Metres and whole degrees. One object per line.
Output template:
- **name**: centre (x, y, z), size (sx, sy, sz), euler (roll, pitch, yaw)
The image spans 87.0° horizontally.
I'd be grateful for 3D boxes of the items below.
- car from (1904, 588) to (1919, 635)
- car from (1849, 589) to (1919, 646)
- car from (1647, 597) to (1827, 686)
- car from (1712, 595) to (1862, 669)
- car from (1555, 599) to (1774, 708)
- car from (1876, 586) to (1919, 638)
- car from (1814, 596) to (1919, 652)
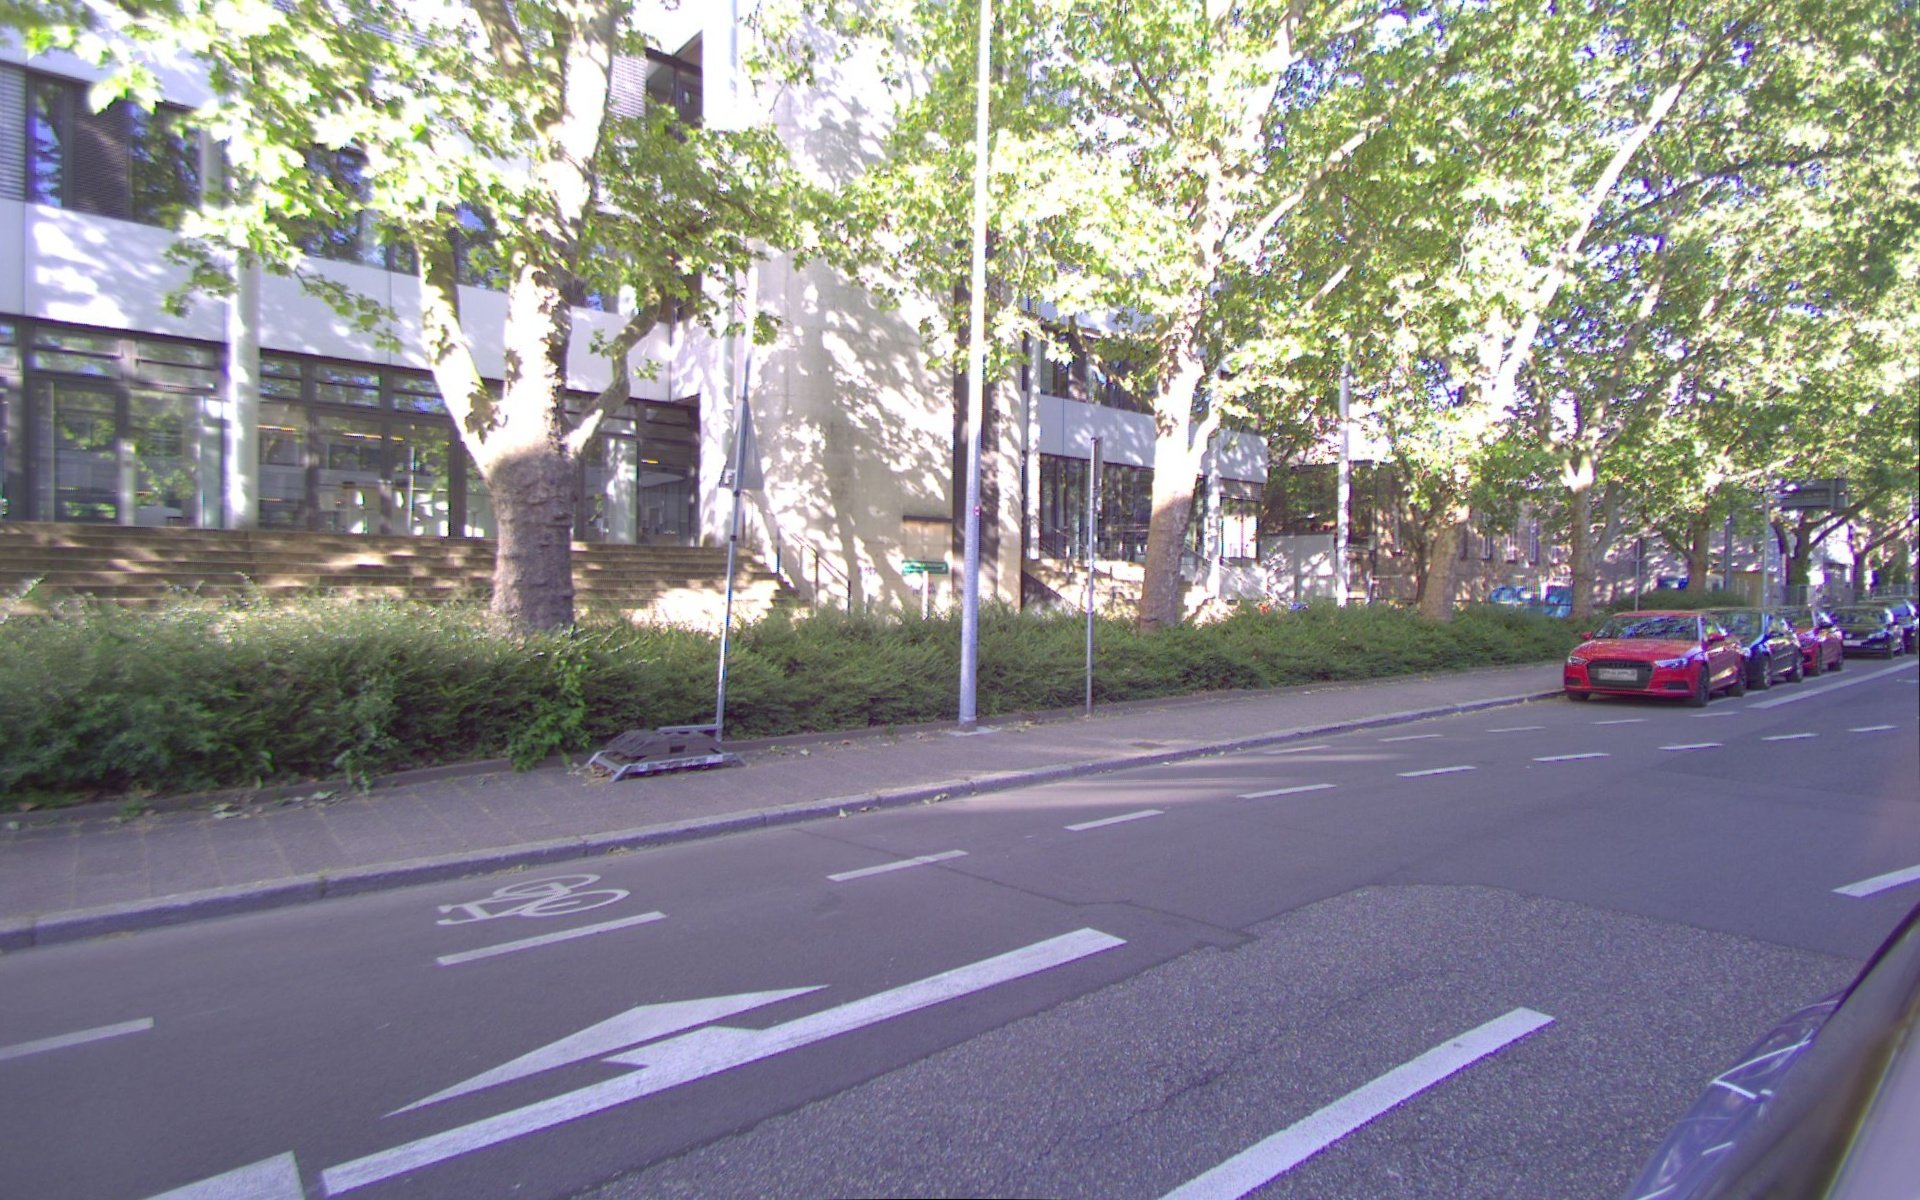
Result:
- **car**: centre (38.873, 0.443, 39.974), size (4.403, 1.781, 1.865), euler (0, 0, -41)
- **car**: centre (29.569, 0.513, 31.814), size (4.403, 1.689, 1.865), euler (0, 0, -41)
- **car**: centre (14.766, 0.691, 19.147), size (4.403, 1.469, 1.865), euler (0, 0, -41)
- **car**: centre (18.434, 0.636, 22.485), size (4.403, 1.469, 1.865), euler (0, 0, -41)
- **car**: centre (11.318, 0.738, 16.147), size (4.403, 1.469, 1.865), euler (0, 0, -41)
- **car**: centre (33.907, 0.394, 35.704), size (4.403, 1.781, 1.865), euler (0, 0, -41)
- **car**: centre (25.789, 0.620, 28.619), size (4.403, 1.469, 1.865), euler (0, 0, -41)
